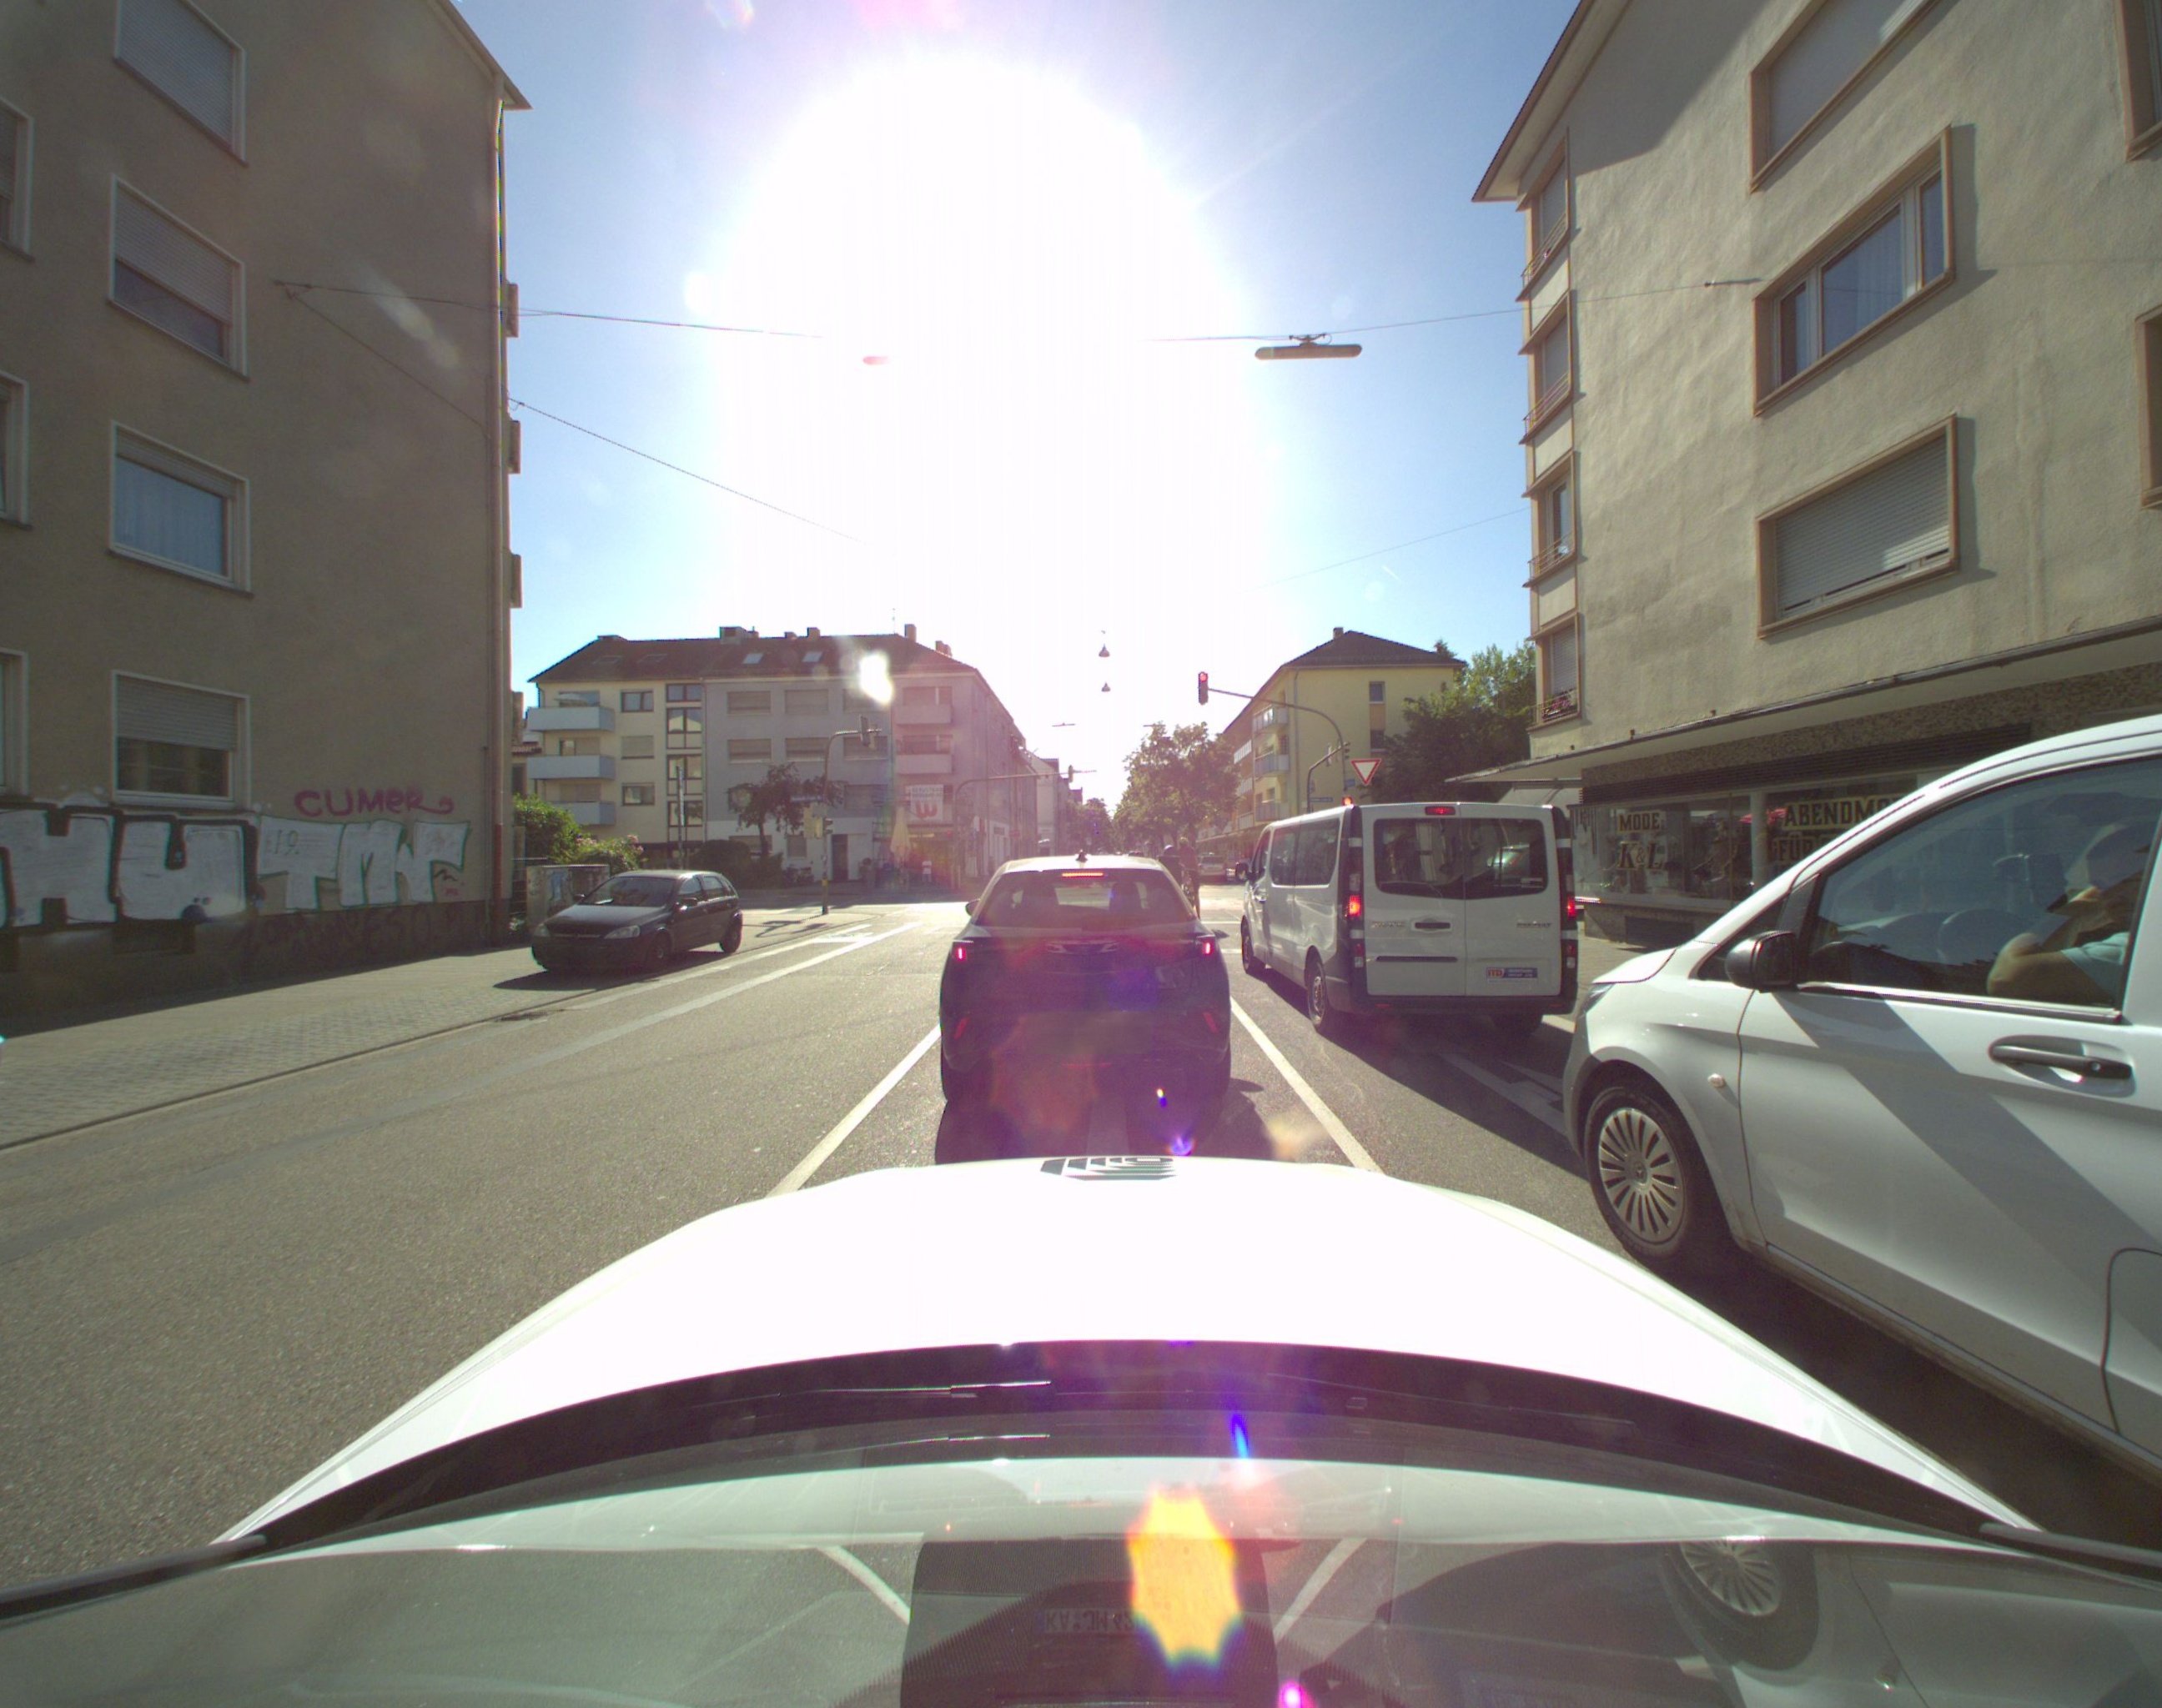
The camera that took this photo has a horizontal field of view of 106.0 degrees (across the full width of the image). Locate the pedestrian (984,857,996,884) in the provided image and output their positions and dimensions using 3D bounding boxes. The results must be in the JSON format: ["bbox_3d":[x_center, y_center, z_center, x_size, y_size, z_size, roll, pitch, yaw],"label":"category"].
[{"bbox_3d":[-5.254,0.938,47.085,0.615,1.521,0.724,-1,0,-1],"label":"pedestrian"}]

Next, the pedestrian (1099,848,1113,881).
[{"bbox_3d":[1.330,0.559,43.772,0.704,1.701,0.802,-1,0,0],"label":"pedestrian"}]

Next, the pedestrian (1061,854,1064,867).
[{"bbox_3d":[-2.415,0.877,106.396,0.400,1.675,0.418,-1,0,1],"label":"pedestrian"}]

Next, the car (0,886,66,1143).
[{"bbox_3d":[-7.167,0.919,2.592,1.711,1.465,4.817,1,0,1],"label":"car"}]

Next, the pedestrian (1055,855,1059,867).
[{"bbox_3d":[-3.118,0.920,106.767,0.400,1.675,0.418,-1,0,1],"label":"pedestrian"}]

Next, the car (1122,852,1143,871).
[{"bbox_3d":[4.949,0.721,78.445,1.894,1.728,4.076,-1,0,3],"label":"car"}]

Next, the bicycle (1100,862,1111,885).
[{"bbox_3d":[1.329,1.046,43.955,0.520,1.147,2.170,-1,0,0],"label":"bicycle"}]

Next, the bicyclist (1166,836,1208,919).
[{"bbox_3d":[2.272,0.483,17.536,0.687,1.712,1.414,-1,0,0],"label":"bicyclist"}]

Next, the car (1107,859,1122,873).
[{"bbox_3d":[4.297,1.474,105.031,1.817,1.728,4.004,-1,0,3],"label":"car"}]

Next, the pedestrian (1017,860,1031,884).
[{"bbox_3d":[-3.058,0.952,43.776,0.704,1.253,0.802,-1,0,0],"label":"pedestrian"}]

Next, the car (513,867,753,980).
[{"bbox_3d":[-6.783,0.967,12.830,1.610,1.425,3.711,2,0,1],"label":"car"}]

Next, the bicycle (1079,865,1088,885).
[{"bbox_3d":[0.147,1.125,44.169,0.442,0.992,2.068,-1,0,0],"label":"bicycle"}]

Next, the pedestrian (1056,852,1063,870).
[{"bbox_3d":[-2.014,0.693,76.859,0.568,1.690,0.588,-1,0,1],"label":"pedestrian"}]

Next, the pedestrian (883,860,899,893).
[{"bbox_3d":[-8.828,1.027,37.842,0.582,1.521,0.649,-1,0,-1],"label":"pedestrian"}]

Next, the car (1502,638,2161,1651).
[{"bbox_3d":[2.908,0.526,1.246,1.831,1.869,4.993,-1,0,-2],"label":"car"}]

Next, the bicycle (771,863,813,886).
[{"bbox_3d":[-15.342,1.091,43.237,2.103,1.172,0.735,-1,0,-22],"label":"bicycle"}]

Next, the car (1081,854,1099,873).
[{"bbox_3d":[1.012,0.988,89.980,1.848,2.013,3.882,-1,0,2],"label":"car"}]

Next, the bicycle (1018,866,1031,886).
[{"bbox_3d":[-3.051,1.181,44.029,0.520,0.992,2.339,-1,0,0],"label":"bicycle"}]

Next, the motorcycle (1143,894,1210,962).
[{"bbox_3d":[1.400,1.073,12.252,0.822,0.845,1.885,-1,0,1],"label":"motorcycle"}]

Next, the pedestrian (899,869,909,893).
[{"bbox_3d":[-8.204,1.226,37.762,0.354,1.092,0.461,-1,0,-1],"label":"pedestrian"}]

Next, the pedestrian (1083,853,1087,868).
[{"bbox_3d":[0.444,0.740,91.657,0.486,1.690,0.588,-1,0,1],"label":"pedestrian"}]

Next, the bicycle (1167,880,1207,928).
[{"bbox_3d":[2.273,1.046,17.681,0.575,0.904,2.301,-1,0,0],"label":"bicycle"}]

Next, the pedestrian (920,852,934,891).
[{"bbox_3d":[-7.255,0.822,38.399,0.560,1.775,0.582,-1,0,-7],"label":"pedestrian"}]

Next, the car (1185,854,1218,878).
[{"bbox_3d":[7.622,0.759,51.831,1.628,1.433,4.002,-1,0,2],"label":"car"}]

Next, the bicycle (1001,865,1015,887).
[{"bbox_3d":[-3.932,1.166,44.184,0.520,1.147,2.283,-1,0,0],"label":"bicycle"}]

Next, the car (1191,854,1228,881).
[{"bbox_3d":[7.425,0.761,47.234,1.628,1.433,3.958,-1,0,2],"label":"car"}]

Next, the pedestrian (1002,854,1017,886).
[{"bbox_3d":[-3.825,0.848,43.859,0.704,1.678,0.802,-1,0,0],"label":"pedestrian"}]

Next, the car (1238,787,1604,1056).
[{"bbox_3d":[3.005,0.502,8.523,1.985,1.979,4.898,1,0,3],"label":"car"}]

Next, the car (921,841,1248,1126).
[{"bbox_3d":[0.026,0.708,6.455,1.765,1.530,3.999,-1,0,0],"label":"car"}]

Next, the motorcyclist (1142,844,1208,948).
[{"bbox_3d":[1.412,0.609,12.456,0.861,1.502,1.160,-1,0,1],"label":"motorcyclist"}]

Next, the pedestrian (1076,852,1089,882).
[{"bbox_3d":[0.092,0.680,43.924,0.678,1.606,0.762,-1,0,0],"label":"pedestrian"}]

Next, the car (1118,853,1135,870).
[{"bbox_3d":[5.078,0.822,91.011,1.894,1.728,4.003,-1,0,2],"label":"car"}]
